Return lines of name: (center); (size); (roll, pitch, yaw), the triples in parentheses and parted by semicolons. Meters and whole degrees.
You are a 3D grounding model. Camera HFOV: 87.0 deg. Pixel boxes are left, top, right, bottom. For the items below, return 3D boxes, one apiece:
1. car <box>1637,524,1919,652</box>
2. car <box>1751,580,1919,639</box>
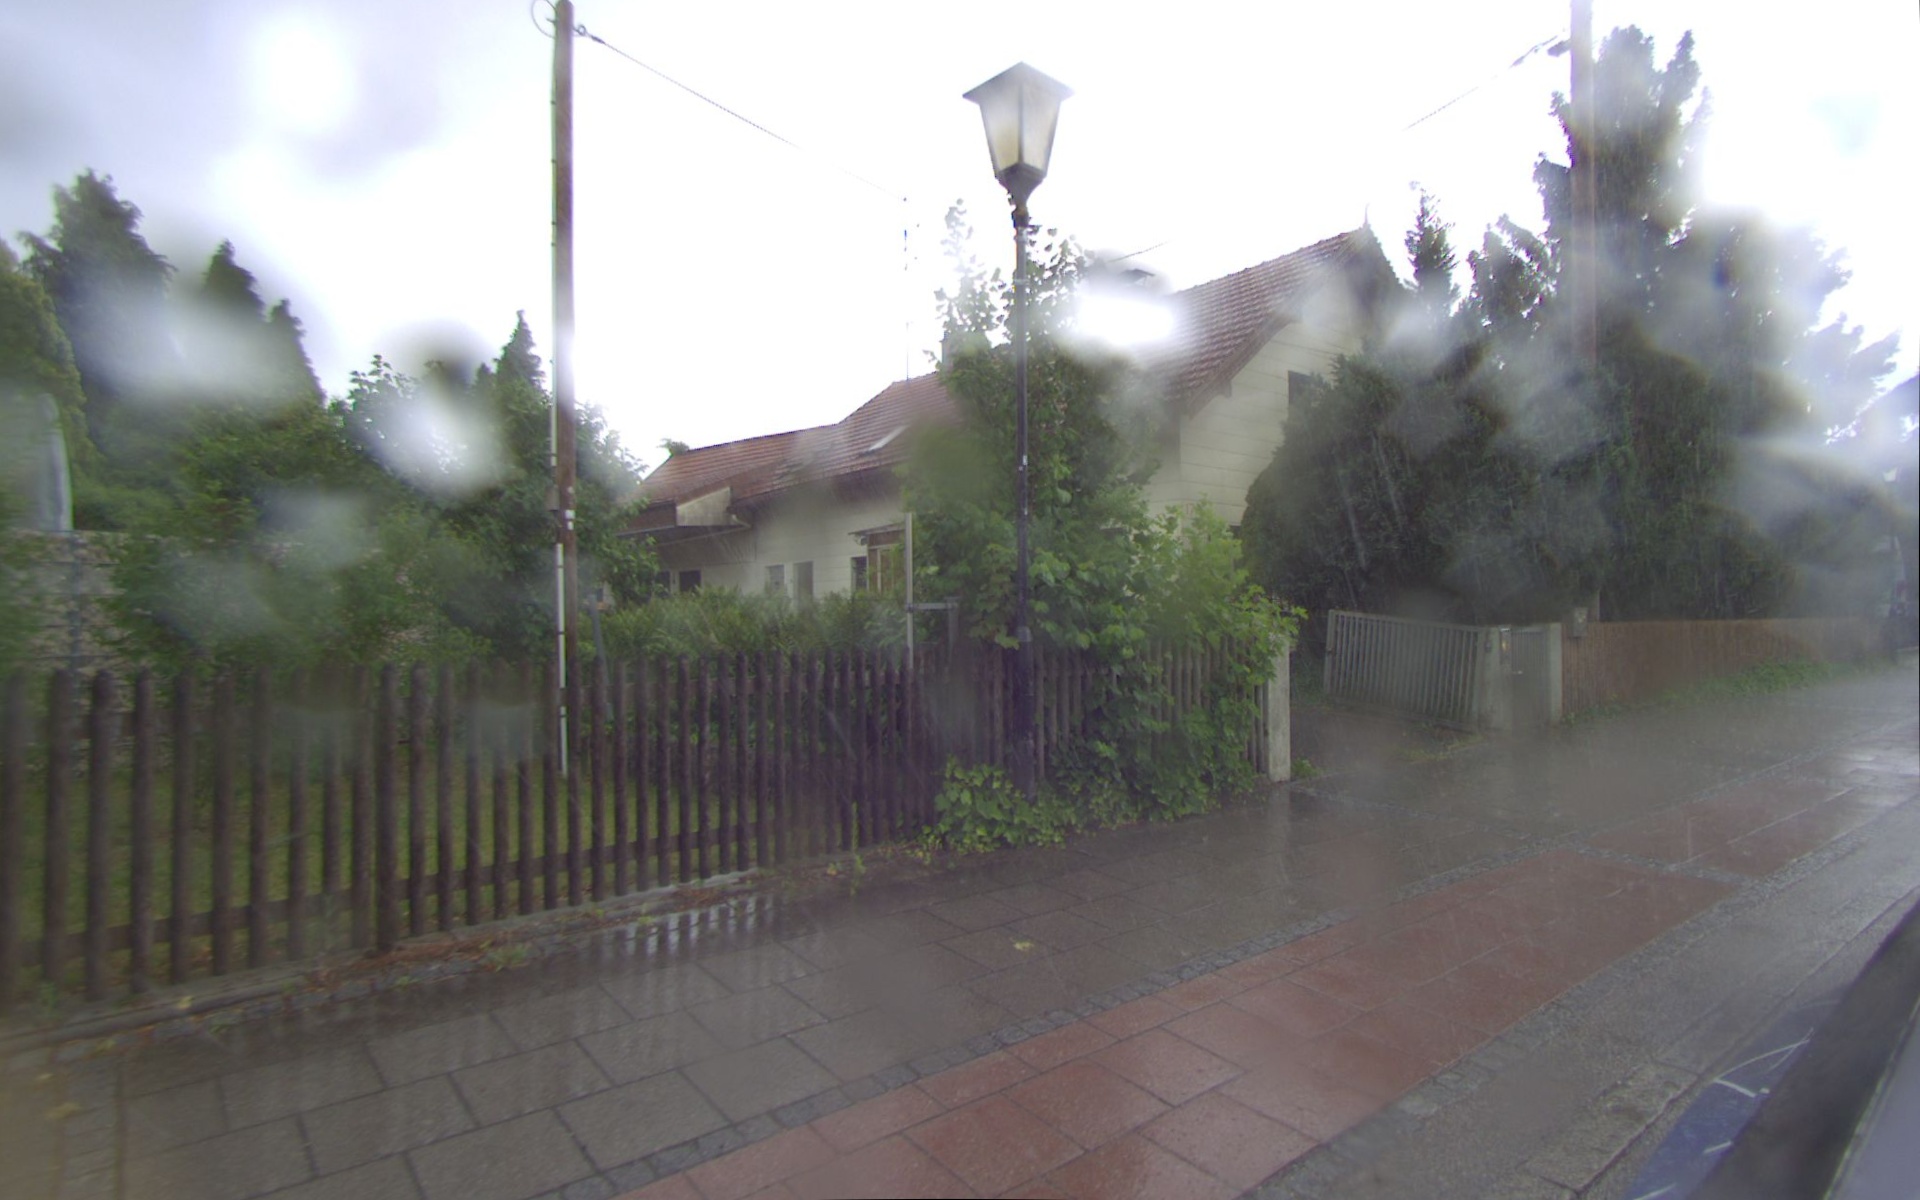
car: (19.625, -0.364, 24.277); (5.306, 2.761, 1.968); (3, 2, 45)
car: (24.945, 0.227, 28.114); (1.800, 1.438, 4.434); (-1, 3, -44)
